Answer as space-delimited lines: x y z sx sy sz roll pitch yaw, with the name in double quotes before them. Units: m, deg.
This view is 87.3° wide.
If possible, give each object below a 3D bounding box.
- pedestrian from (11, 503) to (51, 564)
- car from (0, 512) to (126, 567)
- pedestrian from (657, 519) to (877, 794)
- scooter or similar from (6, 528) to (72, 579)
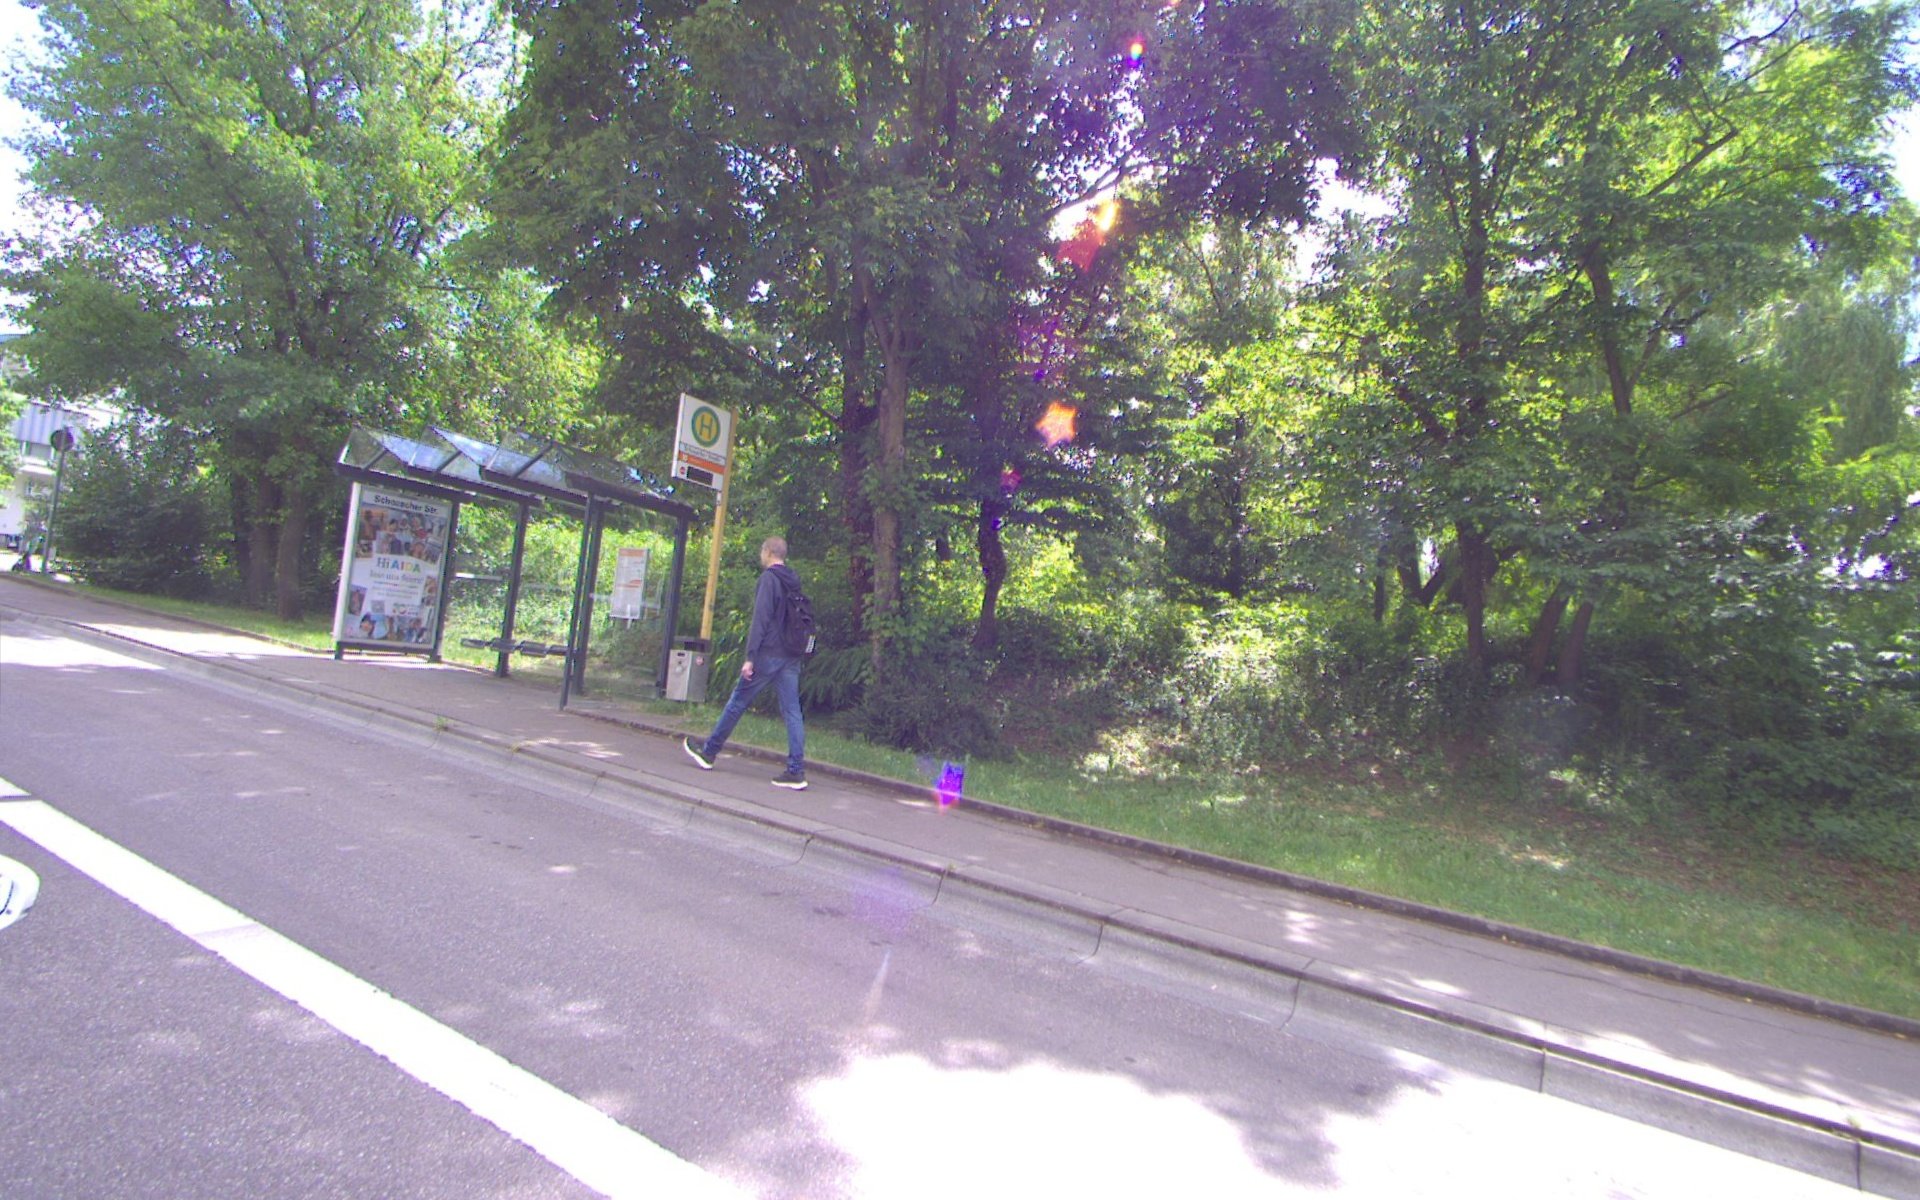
"pedestrian" -29.237 -2.075 31.661 0.612 1.808 0.562 12 -5 -40
"car" -36.079 -2.404 40.329 1.679 1.619 3.592 6 -2 20
"pedestrian" -1.501 0.418 7.840 1.250 1.917 0.802 7 -2 33
"scooter or similar" -22.848 -1.143 24.984 0.325 1.112 1.153 7 -2 9
